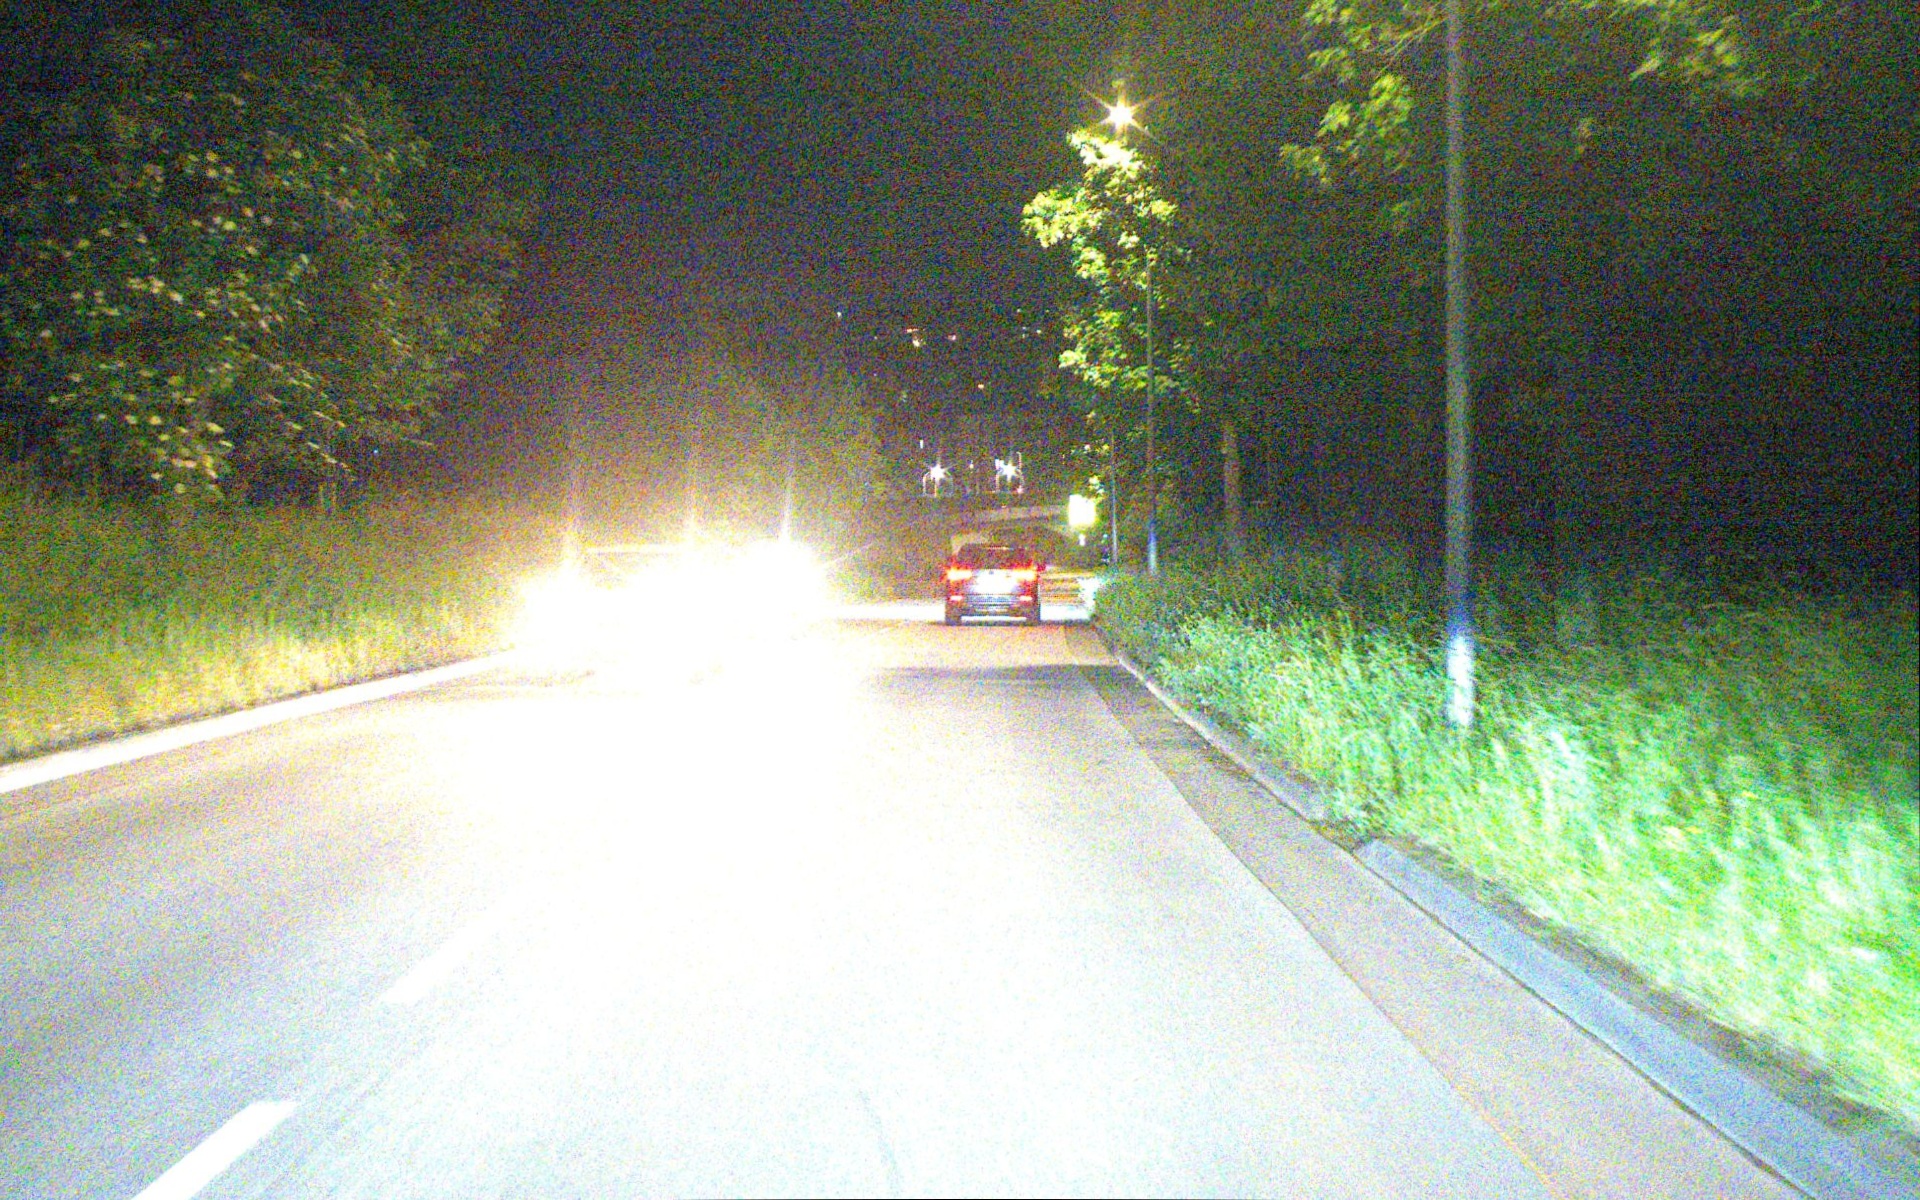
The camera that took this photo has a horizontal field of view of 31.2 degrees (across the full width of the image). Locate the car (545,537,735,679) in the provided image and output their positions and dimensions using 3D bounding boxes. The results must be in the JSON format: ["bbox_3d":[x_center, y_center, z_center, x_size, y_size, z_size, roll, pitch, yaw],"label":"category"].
[{"bbox_3d":[-3.456,0.053,37.724,1.687,1.452,4.000,1,1,0],"label":"car"}]

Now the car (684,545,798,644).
[{"bbox_3d":[-3.427,-0.108,54.280,1.647,1.486,3.558,1,1,-1],"label":"car"}]

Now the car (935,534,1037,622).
[{"bbox_3d":[0.483,-0.449,66.610,1.763,1.636,3.723,0,1,-3],"label":"car"}]
